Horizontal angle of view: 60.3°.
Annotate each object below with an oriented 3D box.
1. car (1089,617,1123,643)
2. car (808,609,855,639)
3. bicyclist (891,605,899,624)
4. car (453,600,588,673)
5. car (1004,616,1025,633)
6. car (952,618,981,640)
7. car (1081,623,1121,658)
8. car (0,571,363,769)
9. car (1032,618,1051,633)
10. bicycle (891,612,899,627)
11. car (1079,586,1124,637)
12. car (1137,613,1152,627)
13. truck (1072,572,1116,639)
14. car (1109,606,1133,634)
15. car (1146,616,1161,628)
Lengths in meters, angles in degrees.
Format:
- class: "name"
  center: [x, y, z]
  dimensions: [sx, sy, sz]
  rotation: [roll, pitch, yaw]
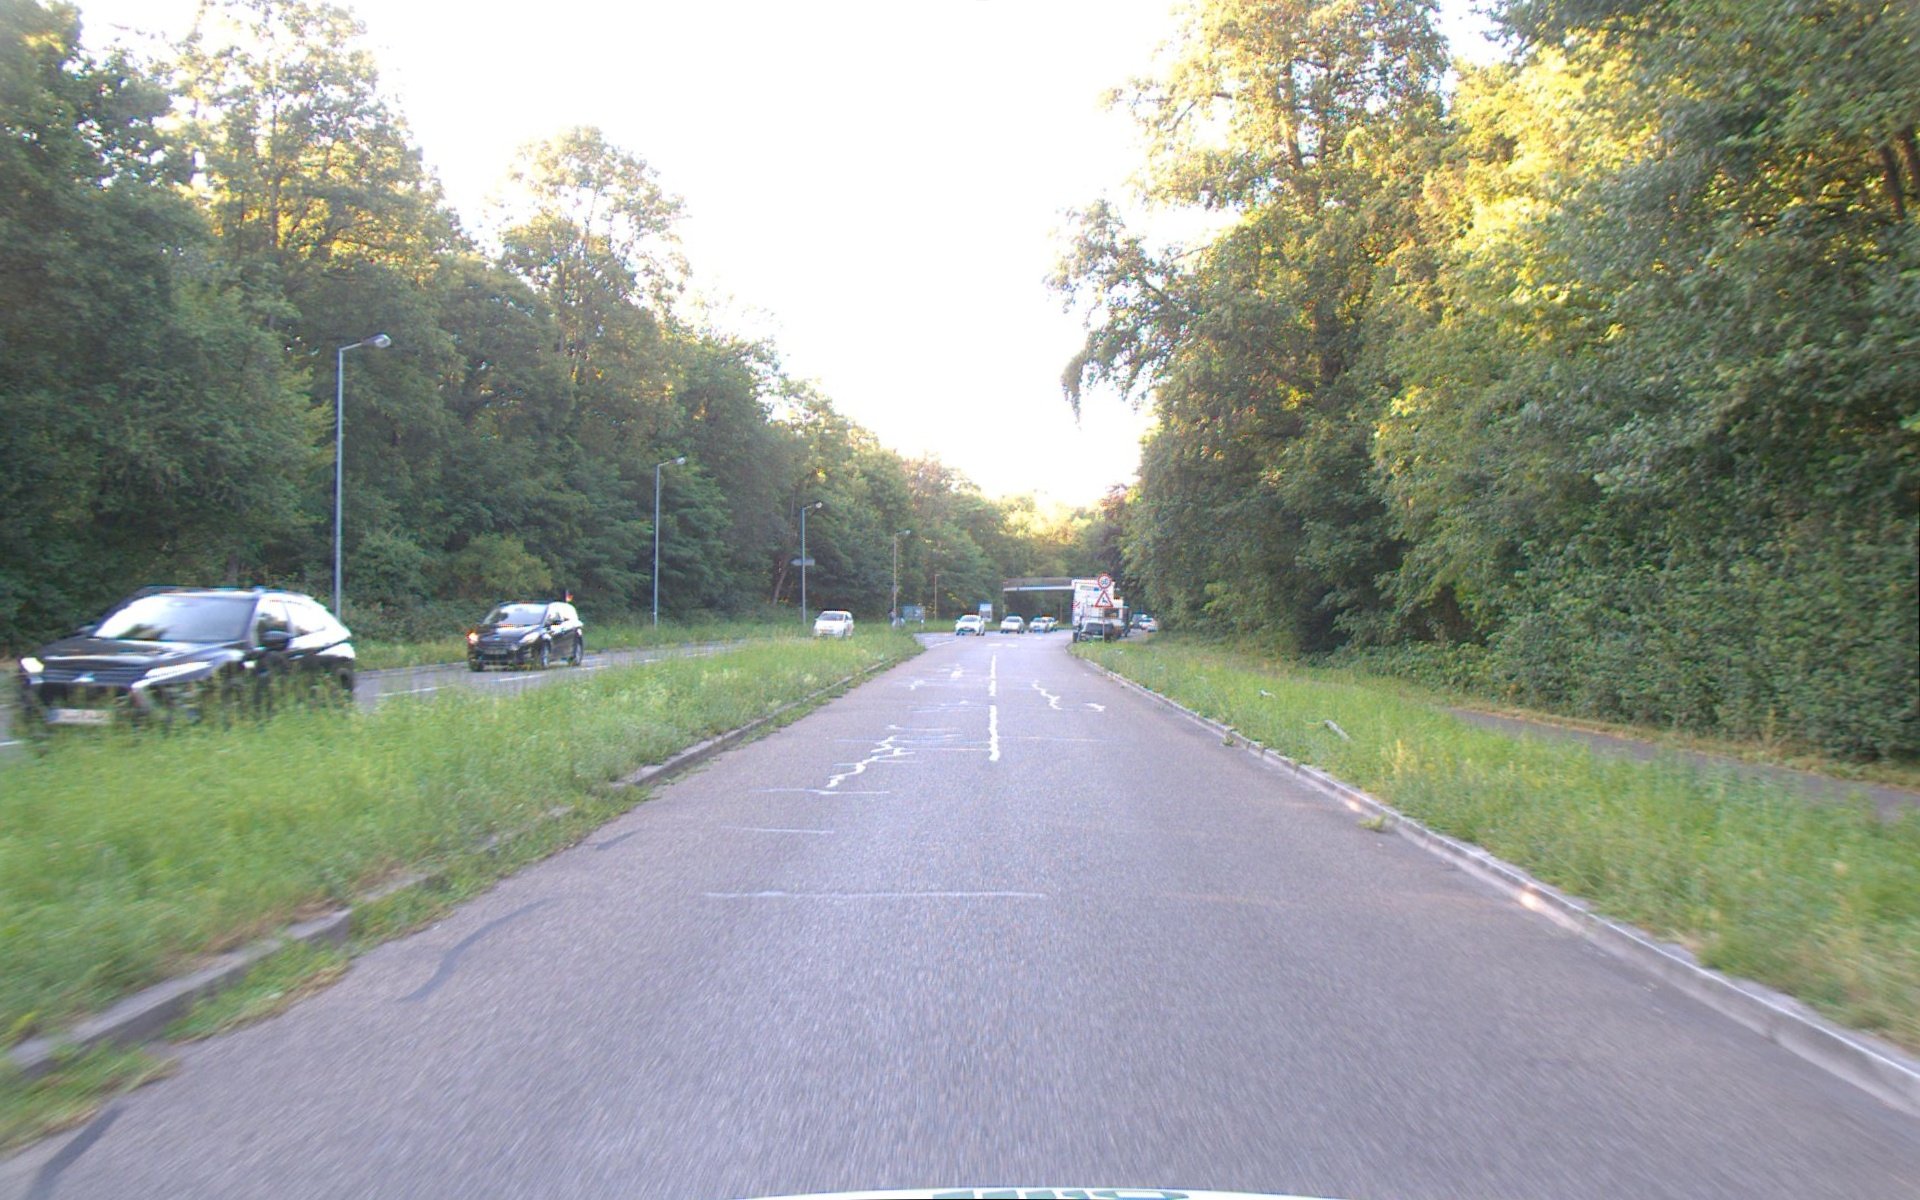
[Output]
- class: "car"
  center: [8.260, 1.683, 93.787]
  dimensions: [1.663, 1.430, 4.076]
  rotation: [1, -1, 2]
- class: "car"
  center: [-6.699, 1.282, 86.459]
  dimensions: [1.952, 1.484, 3.811]
  rotation: [0, -2, 3]
- class: "bicyclist"
  center: [-5.480, 1.204, 139.462]
  dimensions: [0.607, 1.537, 0.847]
  rotation: [0, 0, -2]
- class: "car"
  center: [-10.631, 0.861, 40.369]
  dimensions: [1.952, 1.656, 4.652]
  rotation: [-1, -1, 1]
- class: "car"
  center: [4.869, 2.189, 147.319]
  dimensions: [1.680, 1.471, 4.175]
  rotation: [1, -1, 5]
- class: "car"
  center: [0.502, 2.134, 121.884]
  dimensions: [1.797, 1.534, 3.939]
  rotation: [0, -2, 5]
- class: "car"
  center: [6.288, 1.785, 73.957]
  dimensions: [1.629, 1.430, 3.944]
  rotation: [4, -1, 4]
- class: "car"
  center: [-7.574, 0.620, 16.165]
  dimensions: [1.776, 1.656, 4.451]
  rotation: [-1, -1, 1]
- class: "car"
  center: [8.017, 2.512, 162.285]
  dimensions: [1.683, 1.422, 4.377]
  rotation: [1, 0, 6]
- class: "bicycle"
  center: [-5.481, 1.662, 139.492]
  dimensions: [0.617, 1.239, 2.260]
  rotation: [0, 0, -2]
- class: "car"
  center: [8.503, 0.709, 100.076]
  dimensions: [2.358, 2.908, 5.933]
  rotation: [2, -1, 2]
- class: "car"
  center: [25.564, 2.786, 228.855]
  dimensions: [1.951, 1.870, 4.003]
  rotation: [1, -1, 7]
- class: "truck"
  center: [8.859, 0.389, 108.463]
  dimensions: [2.601, 4.098, 9.727]
  rotation: [1, -1, 6]
- class: "car"
  center: [15.407, 1.926, 158.006]
  dimensions: [1.951, 2.452, 5.827]
  rotation: [0, -2, 8]
- class: "car"
  center: [23.756, 2.735, 202.964]
  dimensions: [1.851, 1.473, 4.113]
  rotation: [1, -1, 8]
